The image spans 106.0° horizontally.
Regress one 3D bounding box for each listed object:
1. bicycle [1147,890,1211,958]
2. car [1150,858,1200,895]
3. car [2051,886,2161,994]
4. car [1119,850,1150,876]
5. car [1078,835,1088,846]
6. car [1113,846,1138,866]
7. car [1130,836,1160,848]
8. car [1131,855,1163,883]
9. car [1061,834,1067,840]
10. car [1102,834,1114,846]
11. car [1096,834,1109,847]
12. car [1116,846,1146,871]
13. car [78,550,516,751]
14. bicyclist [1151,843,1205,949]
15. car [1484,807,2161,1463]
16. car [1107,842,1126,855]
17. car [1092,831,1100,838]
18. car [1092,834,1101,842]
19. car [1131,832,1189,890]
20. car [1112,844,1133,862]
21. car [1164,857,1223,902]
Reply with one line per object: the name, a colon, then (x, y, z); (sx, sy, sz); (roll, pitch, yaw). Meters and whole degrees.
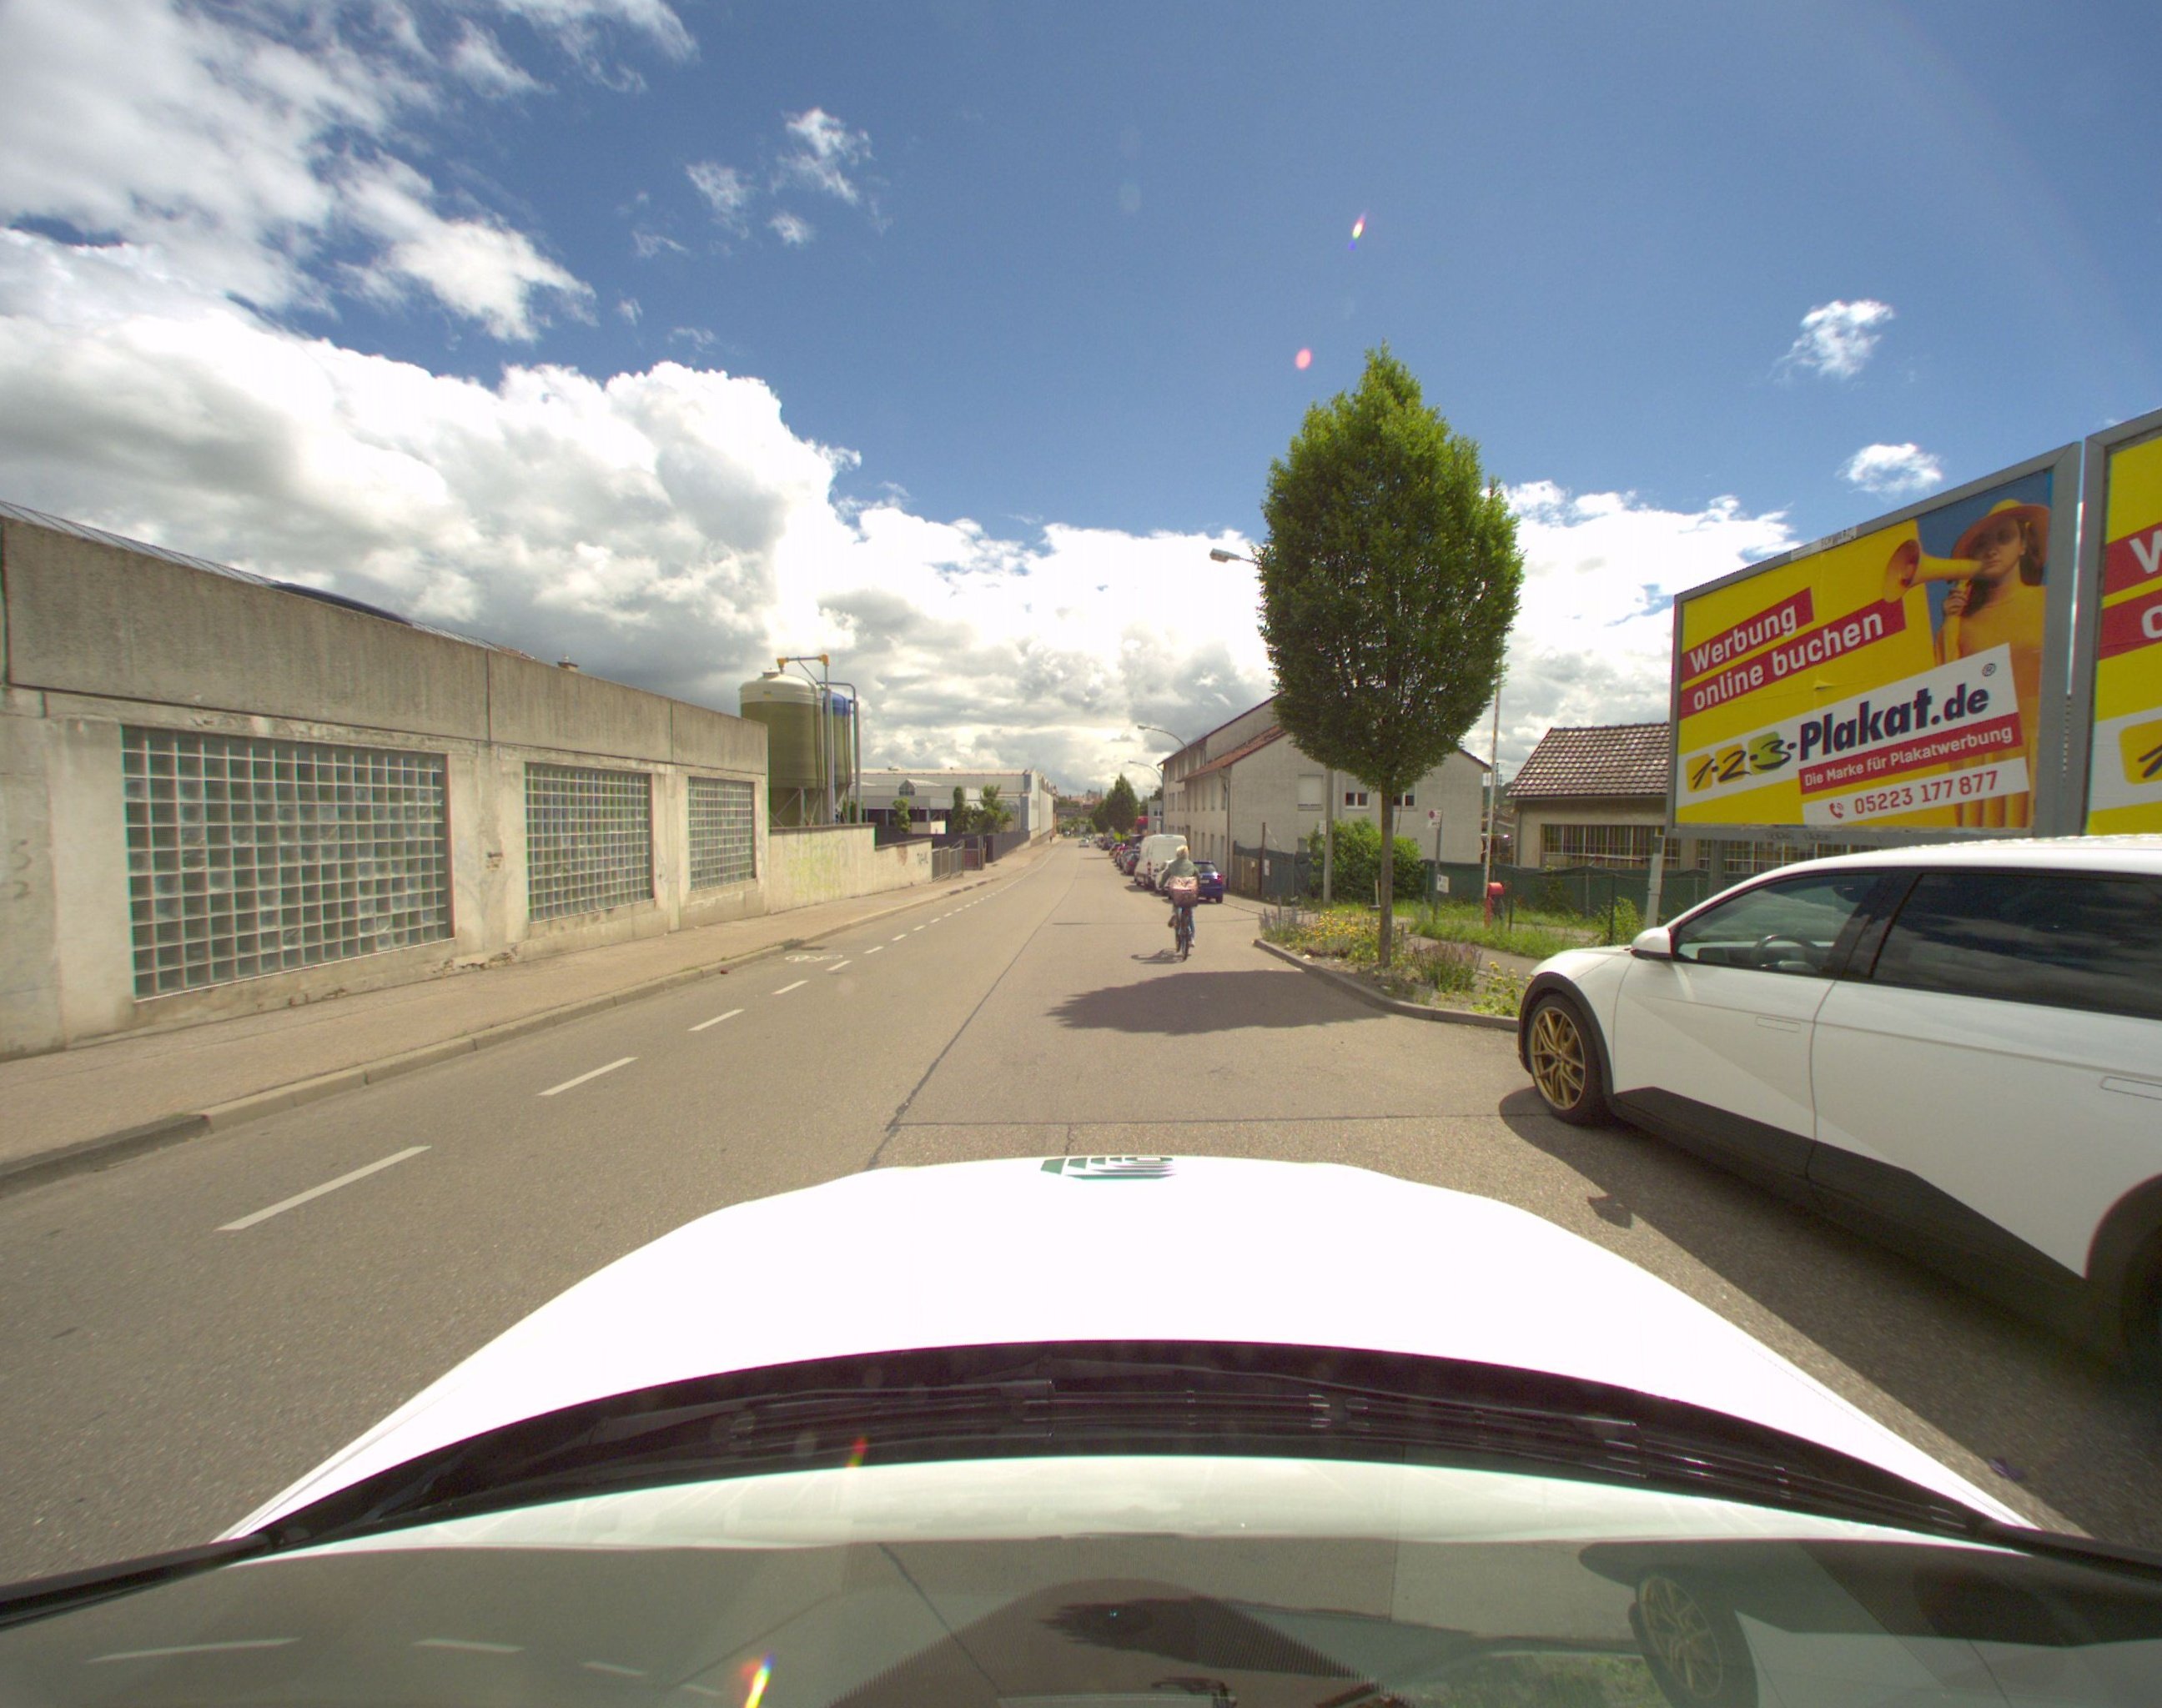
bicycle: (1.516, 1.073, 12.881); (0.738, 0.975, 1.730); (0, -2, -2)
car: (3.939, 0.909, 34.656); (1.588, 1.510, 3.787); (0, 0, -2)
car: (16.440, 1.288, 11.163); (1.753, 1.390, 3.996); (-1, 2, -40)
car: (3.728, 0.580, 57.131); (1.700, 1.509, 5.086); (2, 2, -1)
car: (0.300, -2.187, 135.545); (1.562, 1.786, 3.604); (0, 0, -1)
car: (3.729, 0.171, 68.293); (1.730, 1.423, 4.859); (1, 2, -1)
car: (8.749, -1.631, 111.295); (1.734, 1.462, 4.028); (-4, 2, -39)
car: (3.794, 0.831, 47.016); (1.587, 1.447, 3.791); (0, 1, 1)
car: (-5.149, -5.062, 243.587); (1.847, 1.486, 3.998); (0, 0, -1)
car: (3.920, -1.988, 117.604); (1.673, 1.638, 4.124); (0, 1, 1)
car: (3.440, -2.210, 132.568); (1.863, 1.990, 5.143); (0, 1, -1)
car: (3.811, 0.315, 62.712); (1.673, 1.638, 4.791); (2, 2, -4)
car: (-9.920, -2.469, 10.880); (1.799, 1.637, 4.105); (0, 0, 1)
bicyclist: (1.521, 0.642, 12.901); (0.738, 1.626, 0.731); (0, -1, -3)
car: (3.525, 0.656, 3.145); (1.835, 1.565, 4.468); (-1, 0, 2)
car: (3.922, -0.618, 90.997); (1.786, 1.465, 4.705); (0, 1, -2)
car: (3.427, -4.426, 187.545); (1.695, 1.527, 3.739); (1, 1, 1)
car: (3.322, -3.535, 176.666); (1.698, 1.527, 3.733); (3, 1, -4)
car: (3.844, 0.320, 40.788); (2.028, 2.641, 7.278); (0, 0, -2)
car: (3.785, -0.075, 75.003); (1.729, 1.472, 4.262); (1, 2, 0)
car: (4.047, 0.877, 29.810); (1.562, 1.510, 4.092); (0, 0, -1)
